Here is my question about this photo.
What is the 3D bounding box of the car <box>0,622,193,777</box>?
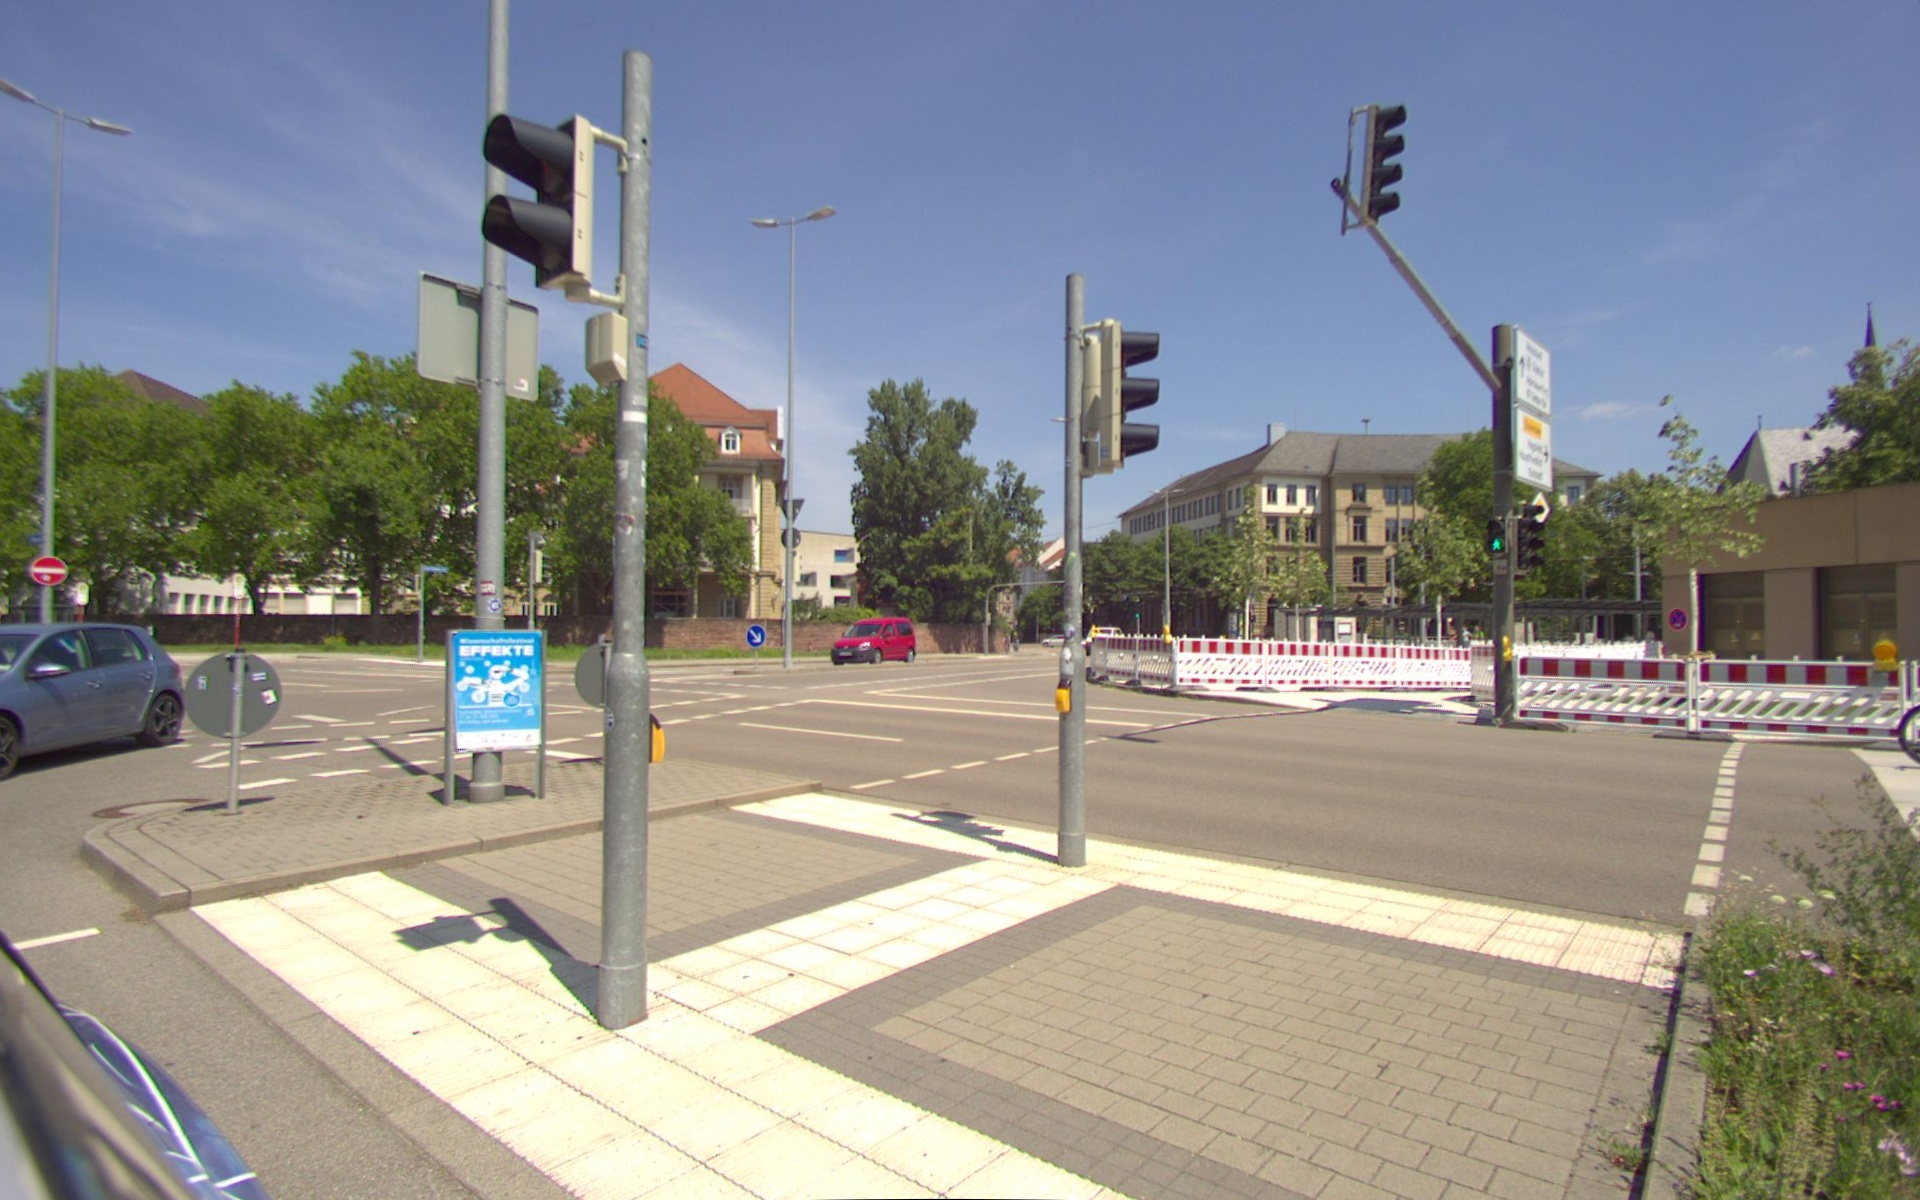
[{"bbox_3d":[-9.901,0.946,10.128,1.805,1.425,4.001,0,-1,-7],"label":"car"}]

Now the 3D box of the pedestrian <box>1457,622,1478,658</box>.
[{"bbox_3d":[24.974,1.964,49.820,0.531,1.769,0.661,-1,-3,-21],"label":"pedestrian"}]

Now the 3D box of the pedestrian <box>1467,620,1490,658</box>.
[{"bbox_3d":[25.037,1.908,48.901,0.635,1.802,0.639,-1,-3,-12],"label":"pedestrian"}]

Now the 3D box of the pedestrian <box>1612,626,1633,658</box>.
[{"bbox_3d":[34.505,2.200,52.724,0.616,1.667,0.548,-1,-3,-16],"label":"pedestrian"}]

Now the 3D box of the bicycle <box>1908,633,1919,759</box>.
[{"bbox_3d":[9.924,0.905,9.175,1.897,1.189,0.517,-1,-2,41],"label":"bicycle"}]

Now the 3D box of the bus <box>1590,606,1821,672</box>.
[{"bbox_3d":[38.833,2.124,53.517,2.809,3.077,10.625,-1,-3,-10],"label":"bus"}]

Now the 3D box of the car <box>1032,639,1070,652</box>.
[{"bbox_3d":[11.221,5.620,125.018,4.428,1.439,1.795,0,-3,44],"label":"car"}]

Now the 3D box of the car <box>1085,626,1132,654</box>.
[{"bbox_3d":[10.104,2.658,68.606,1.921,1.808,4.991,-1,-2,23],"label":"car"}]

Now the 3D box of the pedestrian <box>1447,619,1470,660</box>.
[{"bbox_3d":[23.888,1.881,48.523,0.681,1.920,0.578,-1,-3,-13],"label":"pedestrian"}]

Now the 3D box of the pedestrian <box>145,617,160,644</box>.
[{"bbox_3d":[-52.041,1.956,65.231,0.519,1.734,0.589,-2,-3,-1],"label":"pedestrian"}]

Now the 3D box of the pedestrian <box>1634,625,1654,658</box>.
[{"bbox_3d":[34.739,2.126,51.417,0.528,1.632,0.522,-1,-3,-16],"label":"pedestrian"}]

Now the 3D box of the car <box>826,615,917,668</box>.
[{"bbox_3d":[-3.171,1.515,37.118,1.818,1.780,4.255,-3,-3,17],"label":"car"}]
